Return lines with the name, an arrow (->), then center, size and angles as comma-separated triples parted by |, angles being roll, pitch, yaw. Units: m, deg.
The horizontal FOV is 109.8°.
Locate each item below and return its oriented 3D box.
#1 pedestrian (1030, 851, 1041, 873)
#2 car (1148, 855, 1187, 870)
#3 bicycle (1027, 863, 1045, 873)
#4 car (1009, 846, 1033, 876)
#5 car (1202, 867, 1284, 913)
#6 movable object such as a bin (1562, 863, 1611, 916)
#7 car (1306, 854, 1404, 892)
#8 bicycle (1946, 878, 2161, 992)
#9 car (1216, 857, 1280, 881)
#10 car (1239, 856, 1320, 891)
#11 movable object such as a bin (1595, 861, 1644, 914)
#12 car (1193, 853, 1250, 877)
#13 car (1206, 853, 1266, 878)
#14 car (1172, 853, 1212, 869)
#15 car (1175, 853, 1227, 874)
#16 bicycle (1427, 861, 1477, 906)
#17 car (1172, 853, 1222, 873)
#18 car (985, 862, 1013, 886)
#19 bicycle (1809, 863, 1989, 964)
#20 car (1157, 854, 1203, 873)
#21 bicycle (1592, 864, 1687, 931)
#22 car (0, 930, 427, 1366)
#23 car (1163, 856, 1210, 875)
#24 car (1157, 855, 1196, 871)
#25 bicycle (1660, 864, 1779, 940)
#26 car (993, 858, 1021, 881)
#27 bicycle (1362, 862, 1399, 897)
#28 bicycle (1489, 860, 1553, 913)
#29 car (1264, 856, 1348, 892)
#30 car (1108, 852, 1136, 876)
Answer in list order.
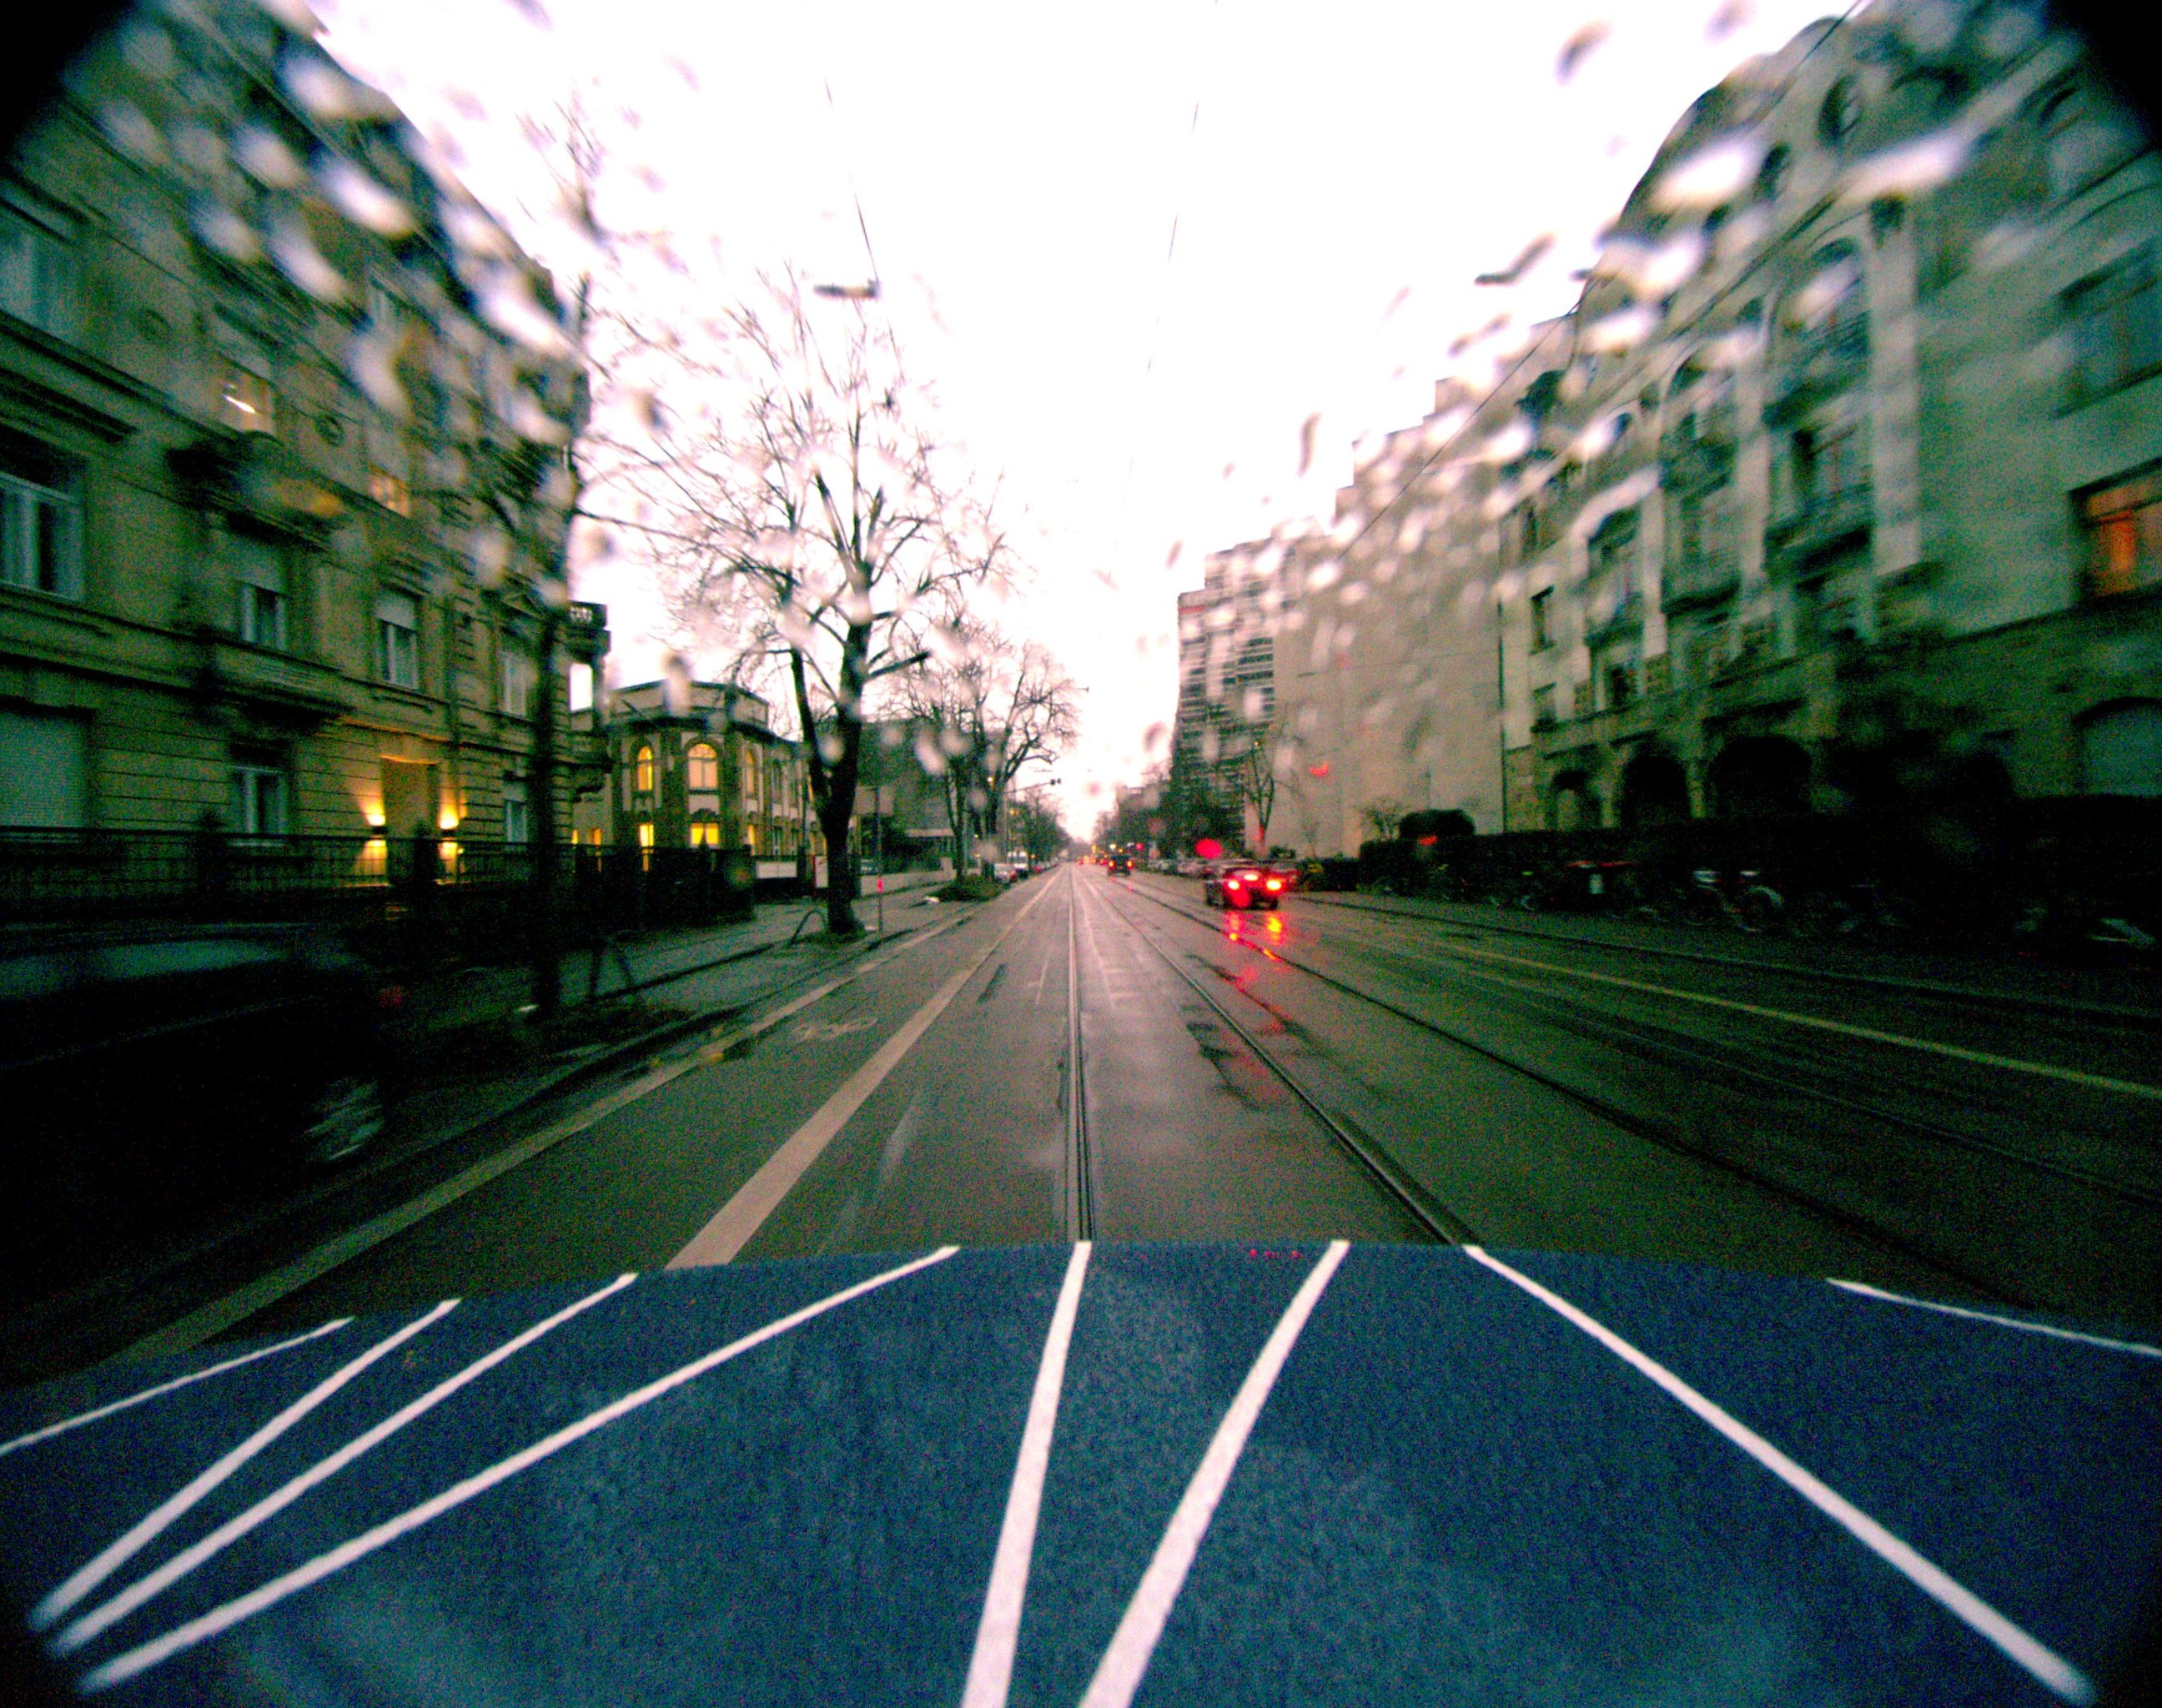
pedestrian -> -4.790, 0.845, 80.509 | 1.118, 2.246, 0.952 | -2, 1, -3
car -> 9.598, 0.953, 84.154 | 4.007, 1.586, 1.864 | -2, 0, -37
bicycle -> -4.766, 1.492, 80.522 | 1.918, 0.986, 0.858 | -2, 1, -3
car -> -5.530, 0.639, 70.590 | 2.093, 2.622, 5.447 | -2, 1, -4
car -> 4.965, 1.057, 23.710 | 1.711, 1.245, 3.666 | -1, 0, -1
movable object such as a bin -> 11.453, 0.796, 17.233 | 0.659, 1.157, 0.675 | -1, 0, 2
car -> 12.105, 0.813, 33.496 | 4.006, 1.485, 1.865 | -2, 0, -29
bicycle -> 10.789, 0.825, 8.351 | 0.625, 1.059, 1.727 | -1, 0, 2
car -> 10.796, 0.953, 49.093 | 4.007, 1.440, 1.864 | -2, 0, -37
car -> 10.117, 0.957, 38.642 | 4.007, 1.586, 1.864 | -2, 0, -37
movable object such as a bin -> 12.138, 0.736, 17.151 | 0.625, 1.157, 0.675 | -1, 0, 2
car -> 10.311, 0.814, 55.765 | 4.007, 1.586, 1.864 | -2, 0, -37
car -> 10.829, 0.813, 53.086 | 4.007, 1.586, 1.864 | -2, 0, -37
car -> 11.659, 0.757, 79.787 | 4.007, 1.586, 1.864 | -2, 0, -37
car -> 9.858, 0.770, 62.260 | 4.007, 1.586, 1.864 | -2, 0, -37
bicycle -> 10.534, 0.825, 21.608 | 0.625, 1.205, 1.662 | -1, 0, 2
car -> 9.970, 0.750, 65.216 | 4.007, 1.586, 1.864 | -2, 0, -37
car -> -5.394, 1.296, 50.501 | 1.628, 1.399, 3.998 | -2, 1, -4
bicycle -> 10.791, 0.739, 10.113 | 0.625, 1.205, 1.662 | -1, 0, 2
car -> 9.225, 0.883, 70.740 | 4.007, 1.586, 1.864 | -2, 0, -37
bicycle -> 10.756, 0.805, 14.699 | 0.625, 1.205, 1.662 | -1, 0, 2
car -> -4.876, 1.169, 2.596 | 1.762, 1.437, 4.157 | 0, -1, -2
car -> 9.461, 1.032, 68.163 | 4.007, 1.586, 1.864 | -2, 0, -37
car -> 10.342, 0.973, 82.234 | 4.007, 1.586, 1.864 | -2, 0, -37
bicycle -> 10.692, 0.764, 12.795 | 0.625, 1.157, 1.662 | -1, 0, 2
car -> -5.845, 1.225, 60.522 | 1.999, 1.672, 3.998 | -2, 1, -4
bicycle -> 10.424, 0.868, 26.490 | 0.625, 1.157, 1.662 | -2, 0, 2
bicycle -> 10.782, 0.772, 18.686 | 0.625, 1.205, 1.662 | -1, 0, 2
car -> 10.606, 0.914, 35.719 | 4.007, 1.477, 1.760 | -2, 0, -37
car -> 3.754, 0.899, 70.496 | 2.239, 2.002, 4.460 | -2, 1, -2
